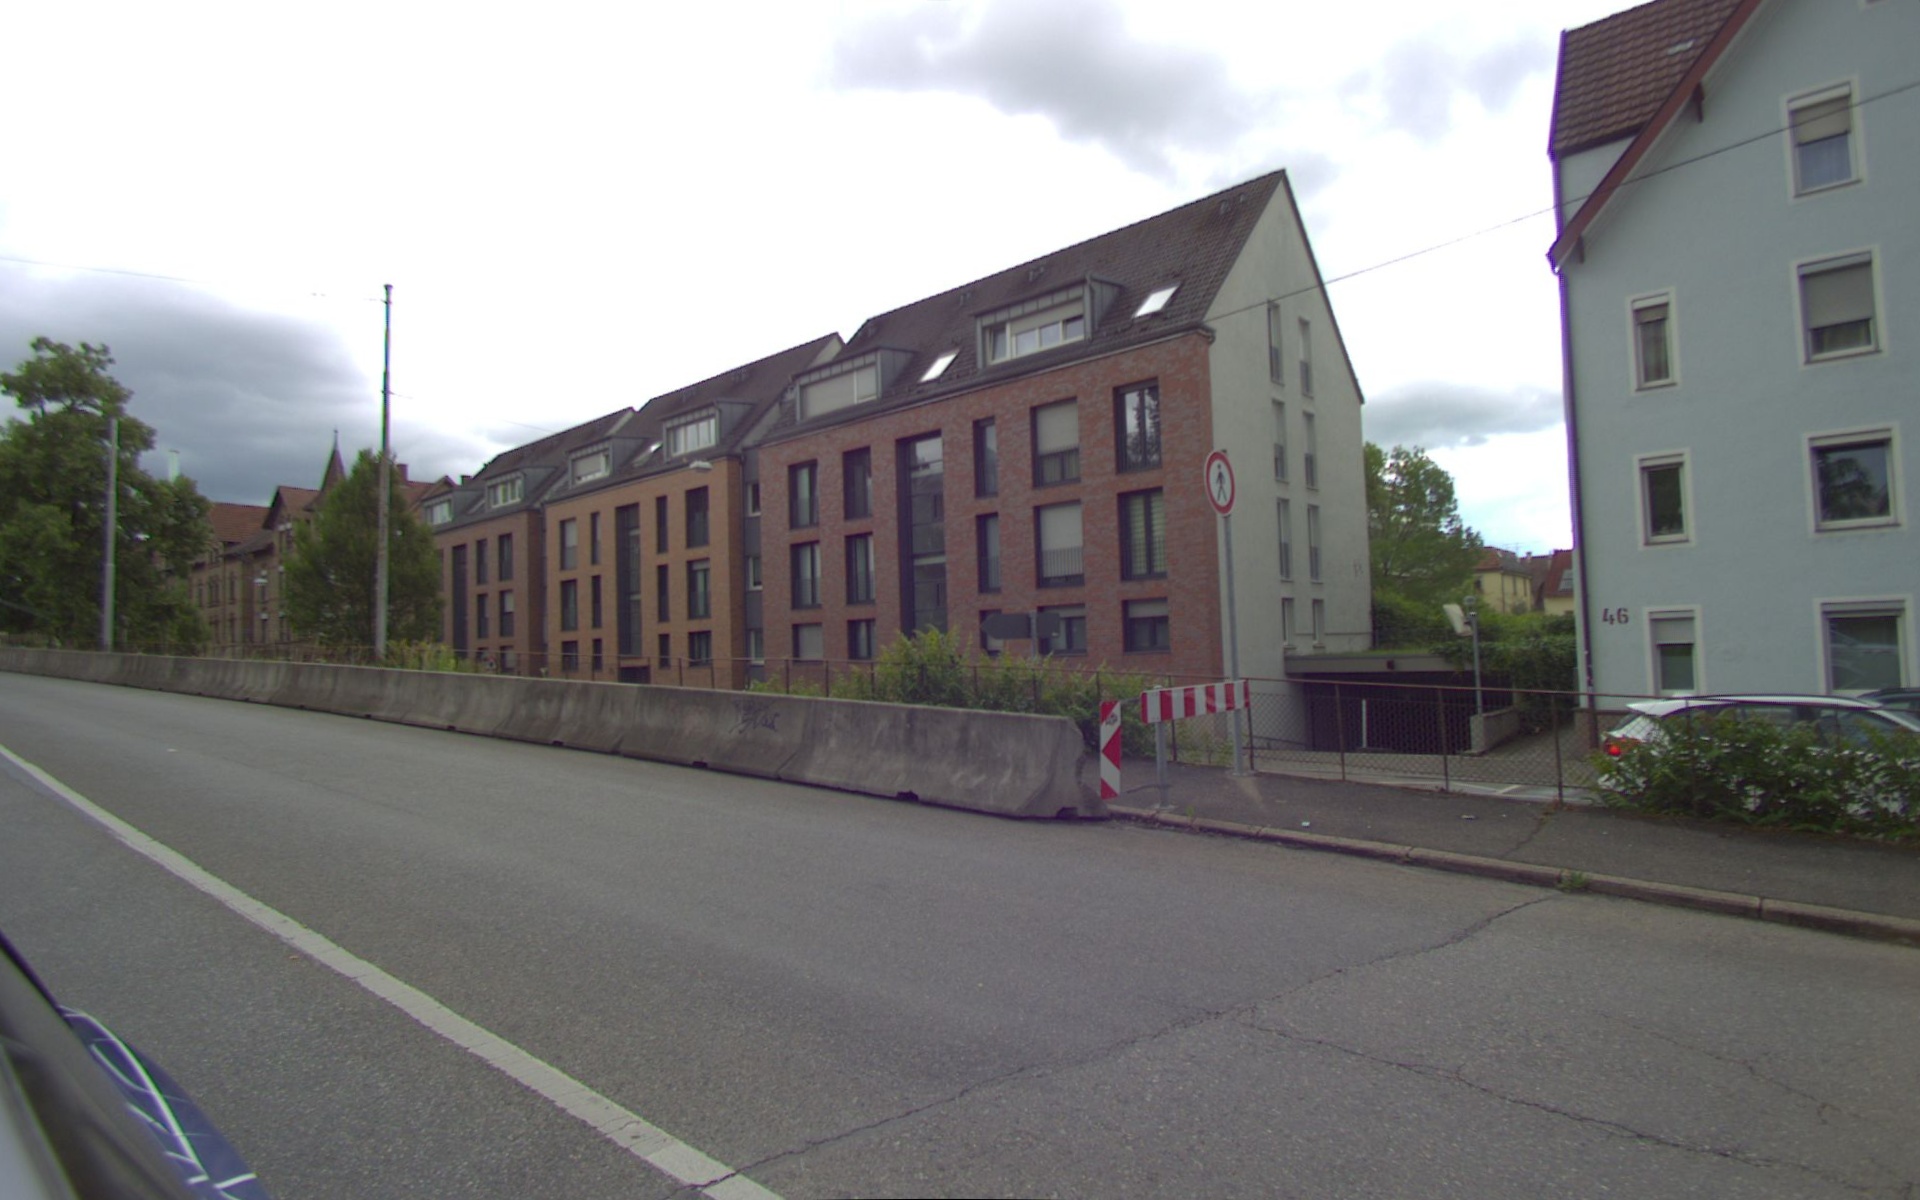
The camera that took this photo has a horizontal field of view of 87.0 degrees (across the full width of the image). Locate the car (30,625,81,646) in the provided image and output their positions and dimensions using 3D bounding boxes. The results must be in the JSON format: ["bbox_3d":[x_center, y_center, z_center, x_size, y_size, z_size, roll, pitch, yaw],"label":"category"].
[{"bbox_3d":[-61.033,2.390,68.269,3.997,1.364,1.973,-2,-3,40],"label":"car"}]

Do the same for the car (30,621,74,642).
[{"bbox_3d":[-68.644,2.398,76.508,3.997,1.564,1.973,-1,-2,40],"label":"car"}]

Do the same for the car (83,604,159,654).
[{"bbox_3d":[-46.640,1.561,56.205,5.736,2.601,2.531,0,0,43],"label":"car"}]

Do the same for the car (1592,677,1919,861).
[{"bbox_3d":[9.157,1.654,10.256,4.421,1.525,1.808,-2,-1,42],"label":"car"}]

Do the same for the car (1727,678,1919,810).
[{"bbox_3d":[12.982,1.920,13.529,4.231,1.567,1.664,-2,-2,41],"label":"car"}]
